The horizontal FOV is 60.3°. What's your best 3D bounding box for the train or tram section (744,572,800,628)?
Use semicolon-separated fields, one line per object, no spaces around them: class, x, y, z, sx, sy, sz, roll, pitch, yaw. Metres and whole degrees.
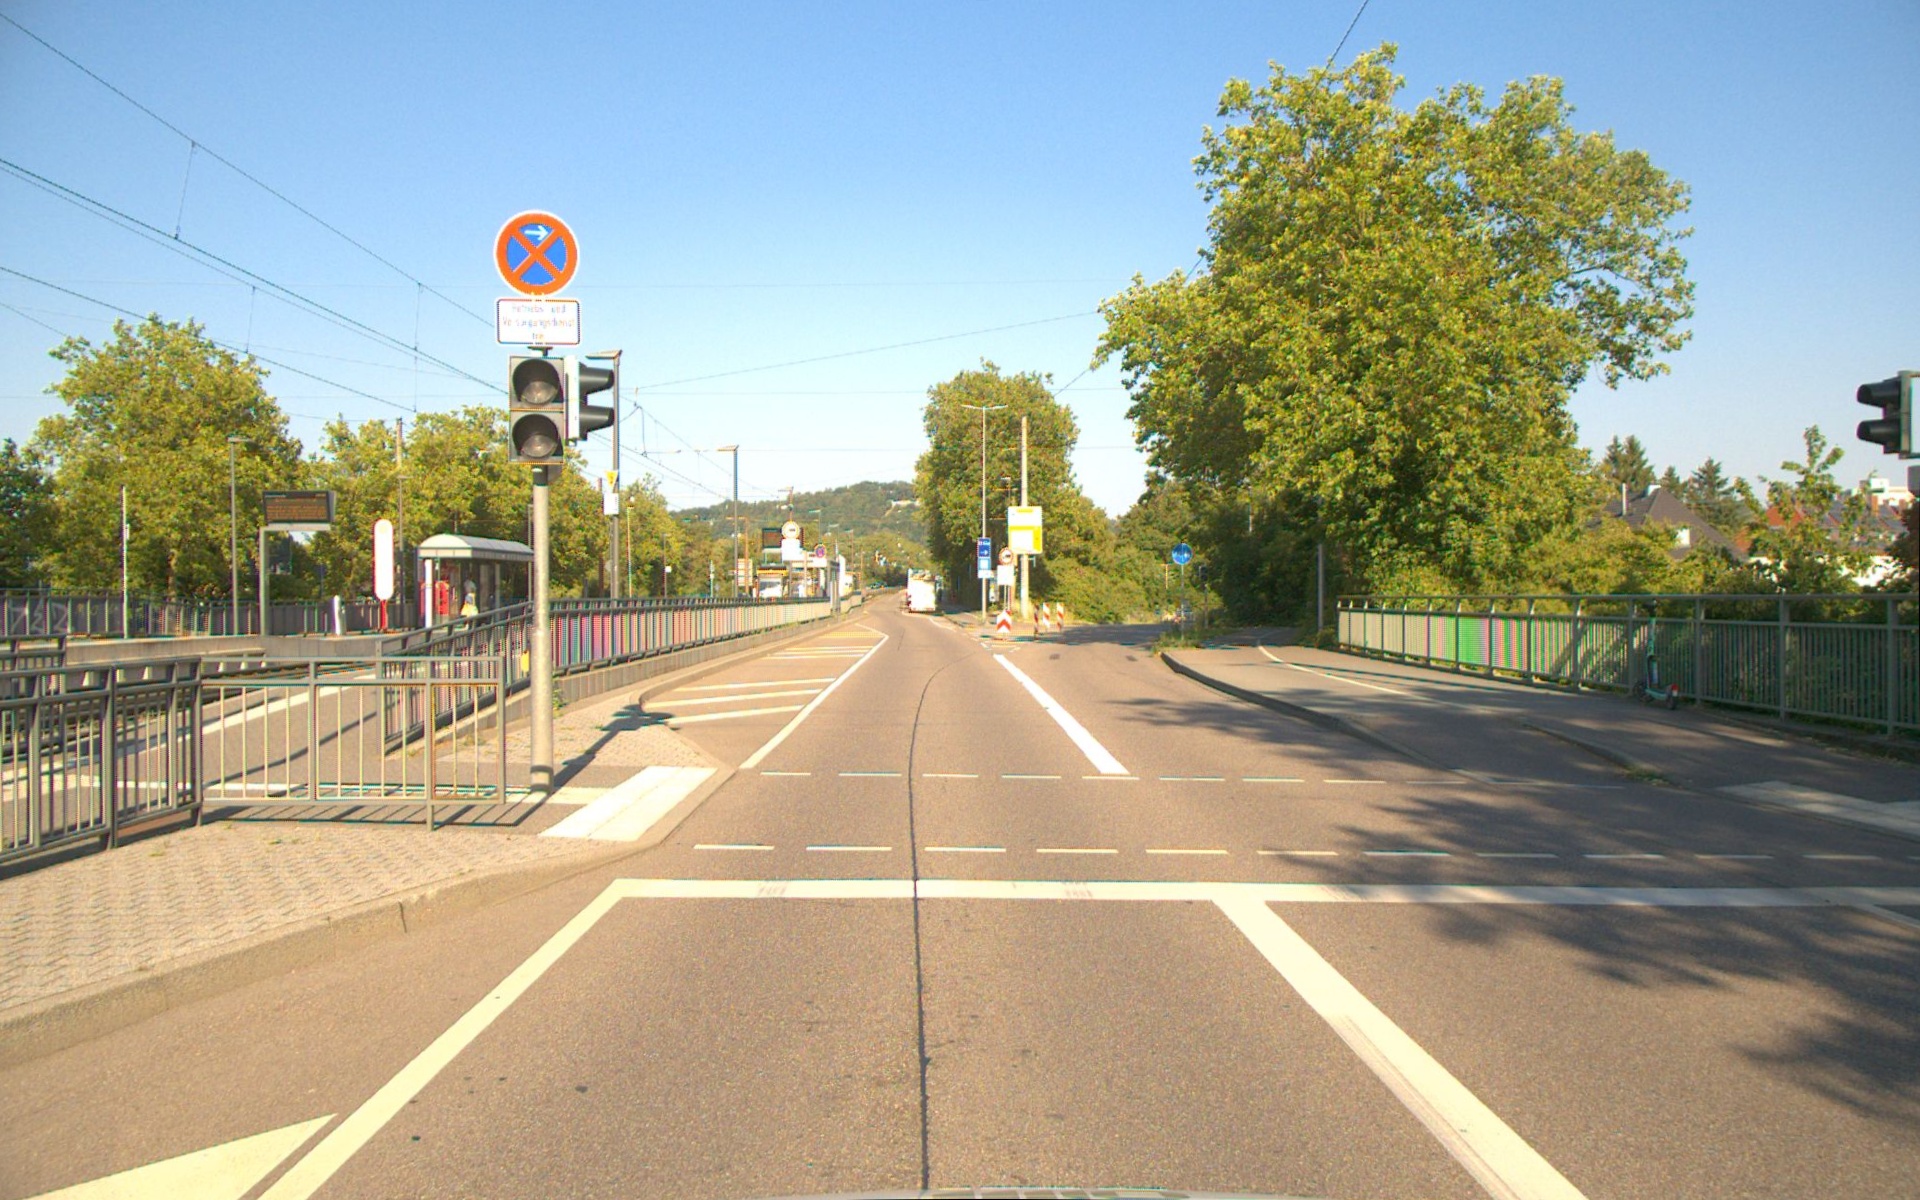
train or tram section;-14.731;-0.021;130.644;2.770;4.076;15.871;1;0;-1

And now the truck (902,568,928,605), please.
truck;-4.964;-1.492;182.311;2.687;3.849;10.085;1;0;-2

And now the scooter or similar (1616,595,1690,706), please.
scooter or similar;8.366;0.594;19.991;0.418;1.297;1.083;-1;0;-1

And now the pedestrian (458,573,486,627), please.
pedestrian;-16.255;0.004;55.097;0.687;1.787;0.586;0;0;34

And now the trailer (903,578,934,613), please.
trailer;-3.367;-0.396;134.465;2.205;2.742;5.948;0;0;1

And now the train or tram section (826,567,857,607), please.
train or tram section;-12.879;-1.432;181.226;2.666;4.162;13.611;-1;0;-2

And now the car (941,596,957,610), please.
car;-1.134;0.292;172.461;1.619;1.462;3.777;0;0;0
